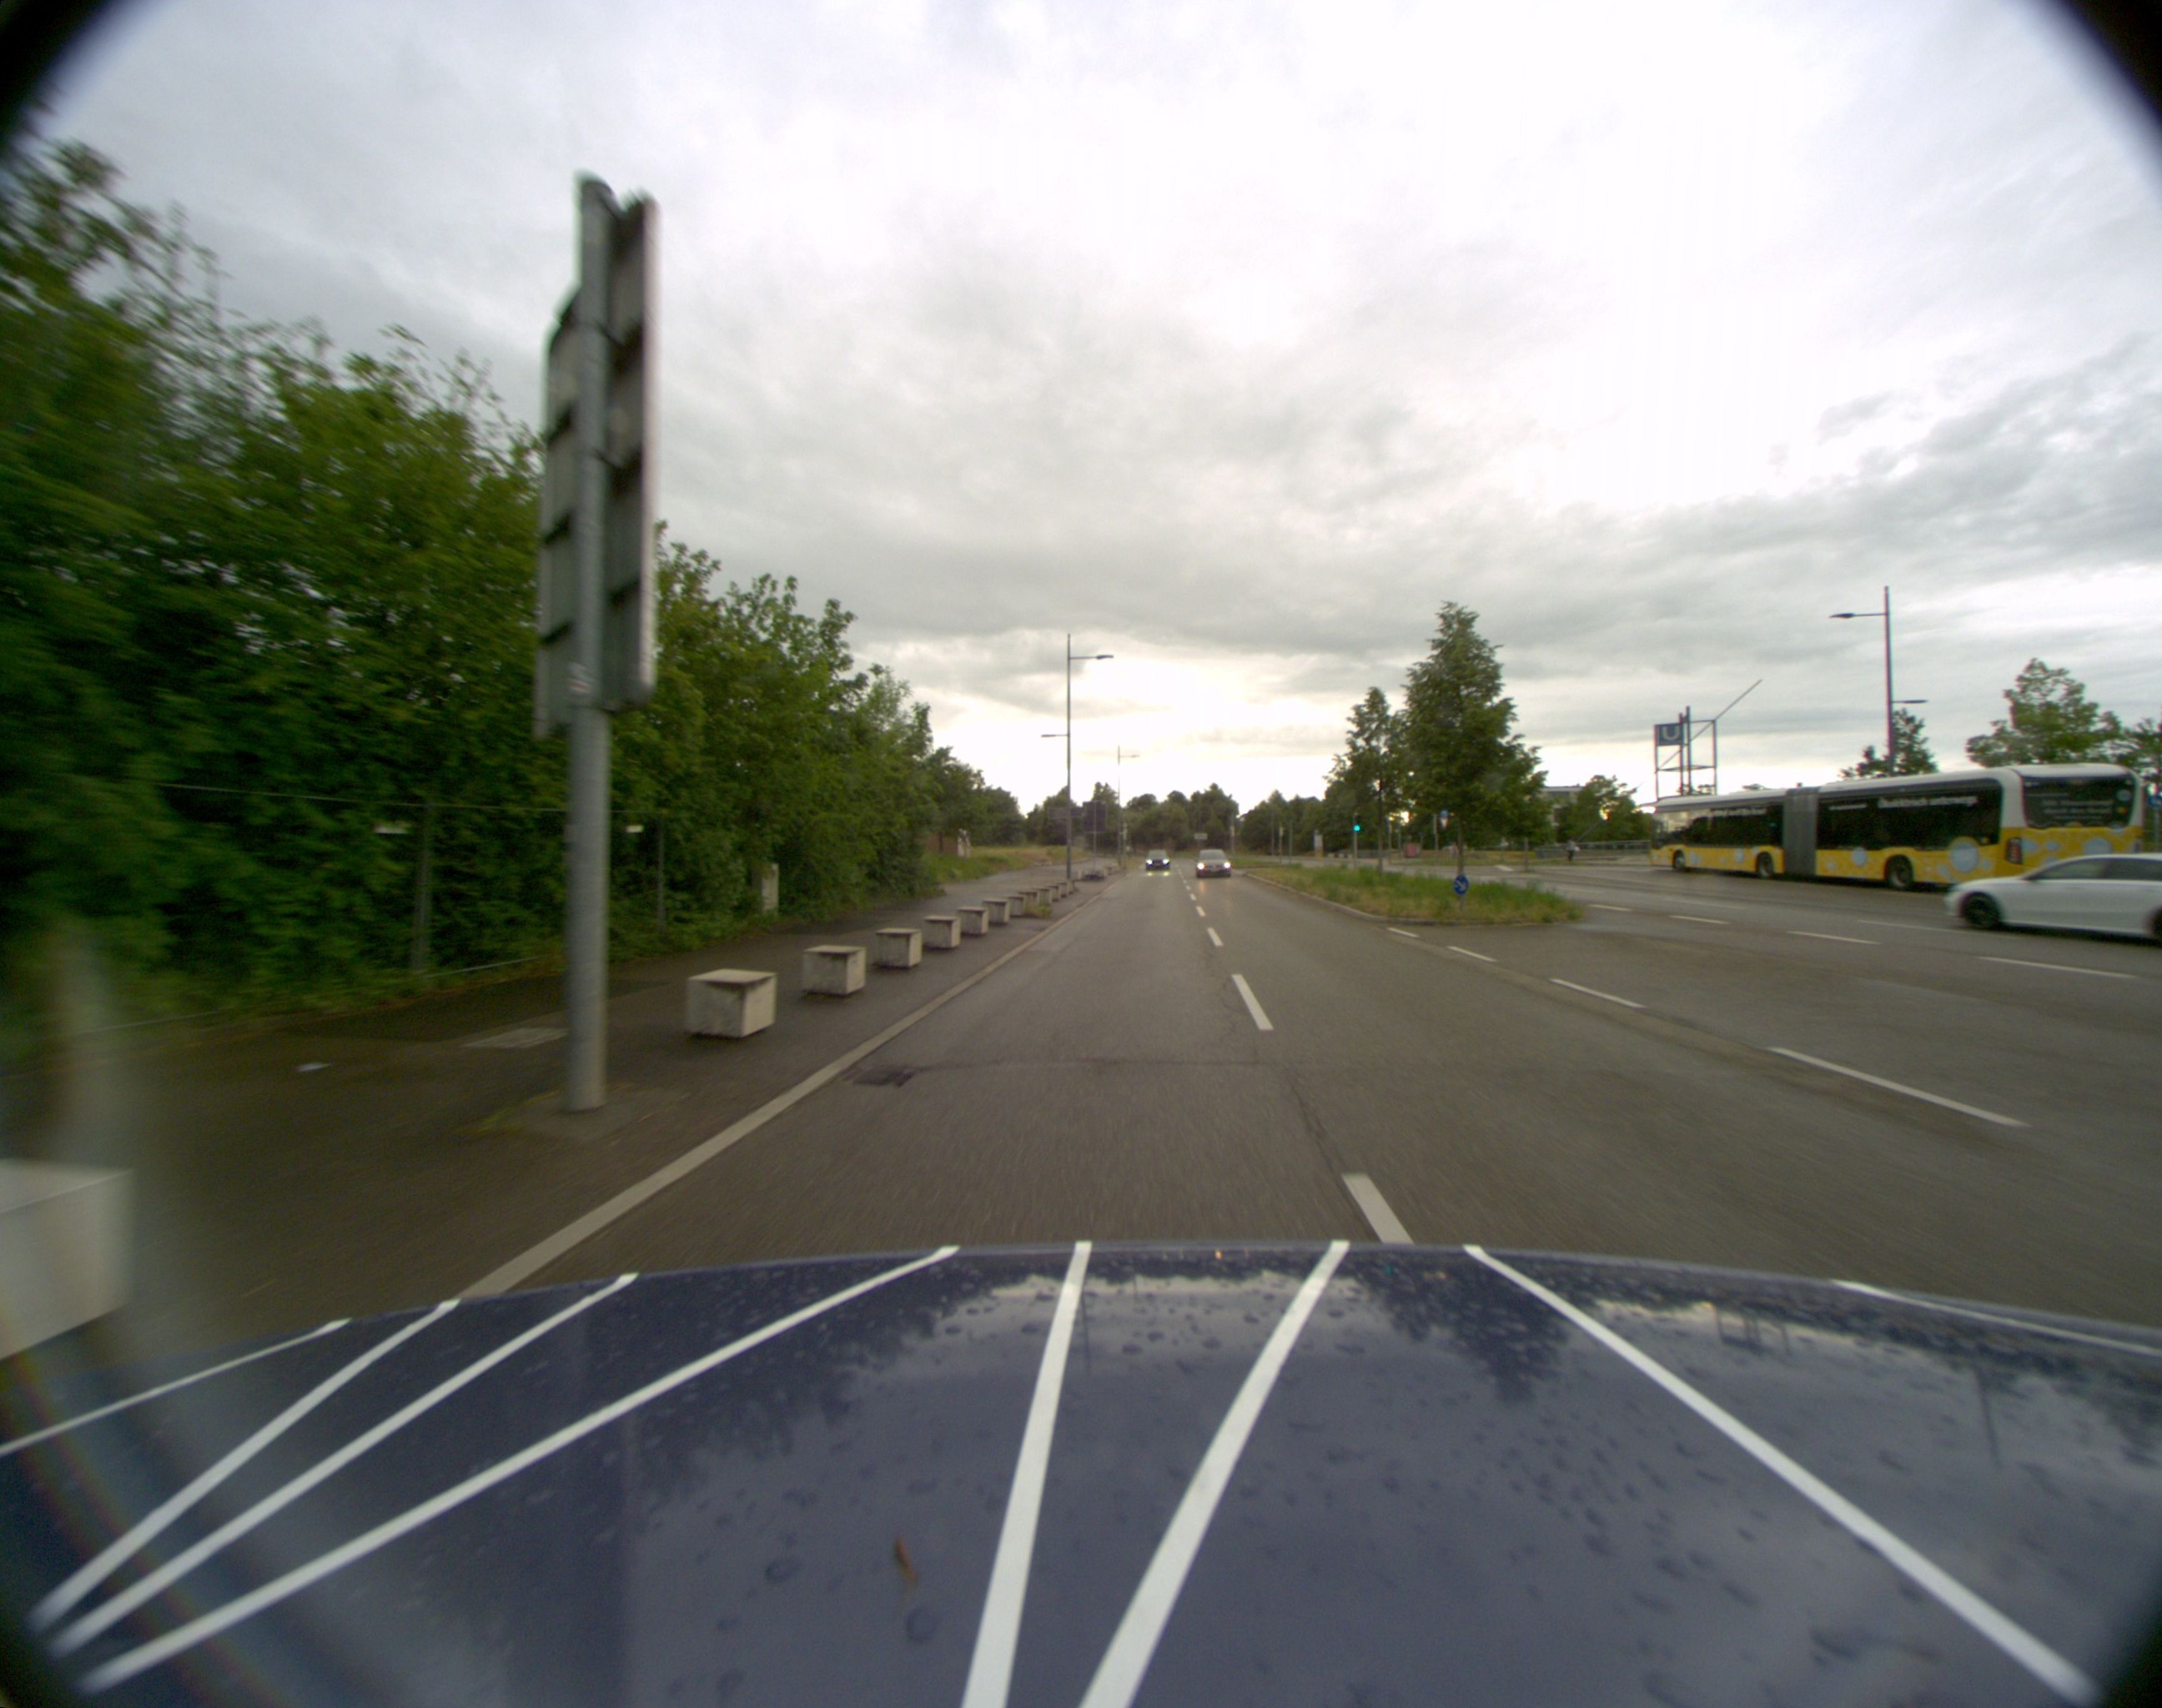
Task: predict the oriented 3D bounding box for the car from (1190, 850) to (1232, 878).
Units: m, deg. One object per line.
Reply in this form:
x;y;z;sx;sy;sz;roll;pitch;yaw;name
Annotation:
7.008;0.543;41.404;1.809;1.421;4.198;-1;0;4;car

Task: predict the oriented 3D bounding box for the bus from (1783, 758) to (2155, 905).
25.101;-0.608;22.372;2.825;3.452;8.238;-2;1;14;bus

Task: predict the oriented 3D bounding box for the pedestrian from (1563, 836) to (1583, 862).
30.818;-0.327;47.590;0.822;1.584;0.673;-1;-1;-13;pedestrian

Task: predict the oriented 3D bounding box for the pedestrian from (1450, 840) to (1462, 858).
32.546;-0.441;66.002;0.615;1.584;0.813;-1;-1;2;pedestrian

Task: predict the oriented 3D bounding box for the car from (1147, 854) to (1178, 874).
6.135;0.764;57.441;1.989;1.391;4.177;-1;-1;2;car

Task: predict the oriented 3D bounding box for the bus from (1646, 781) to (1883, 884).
27.263;-0.838;31.199;2.825;3.452;9.982;-2;1;14;bus

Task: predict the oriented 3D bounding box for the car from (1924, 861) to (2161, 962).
17.163;0.868;12.445;1.997;1.410;4.515;-1;0;6;car
